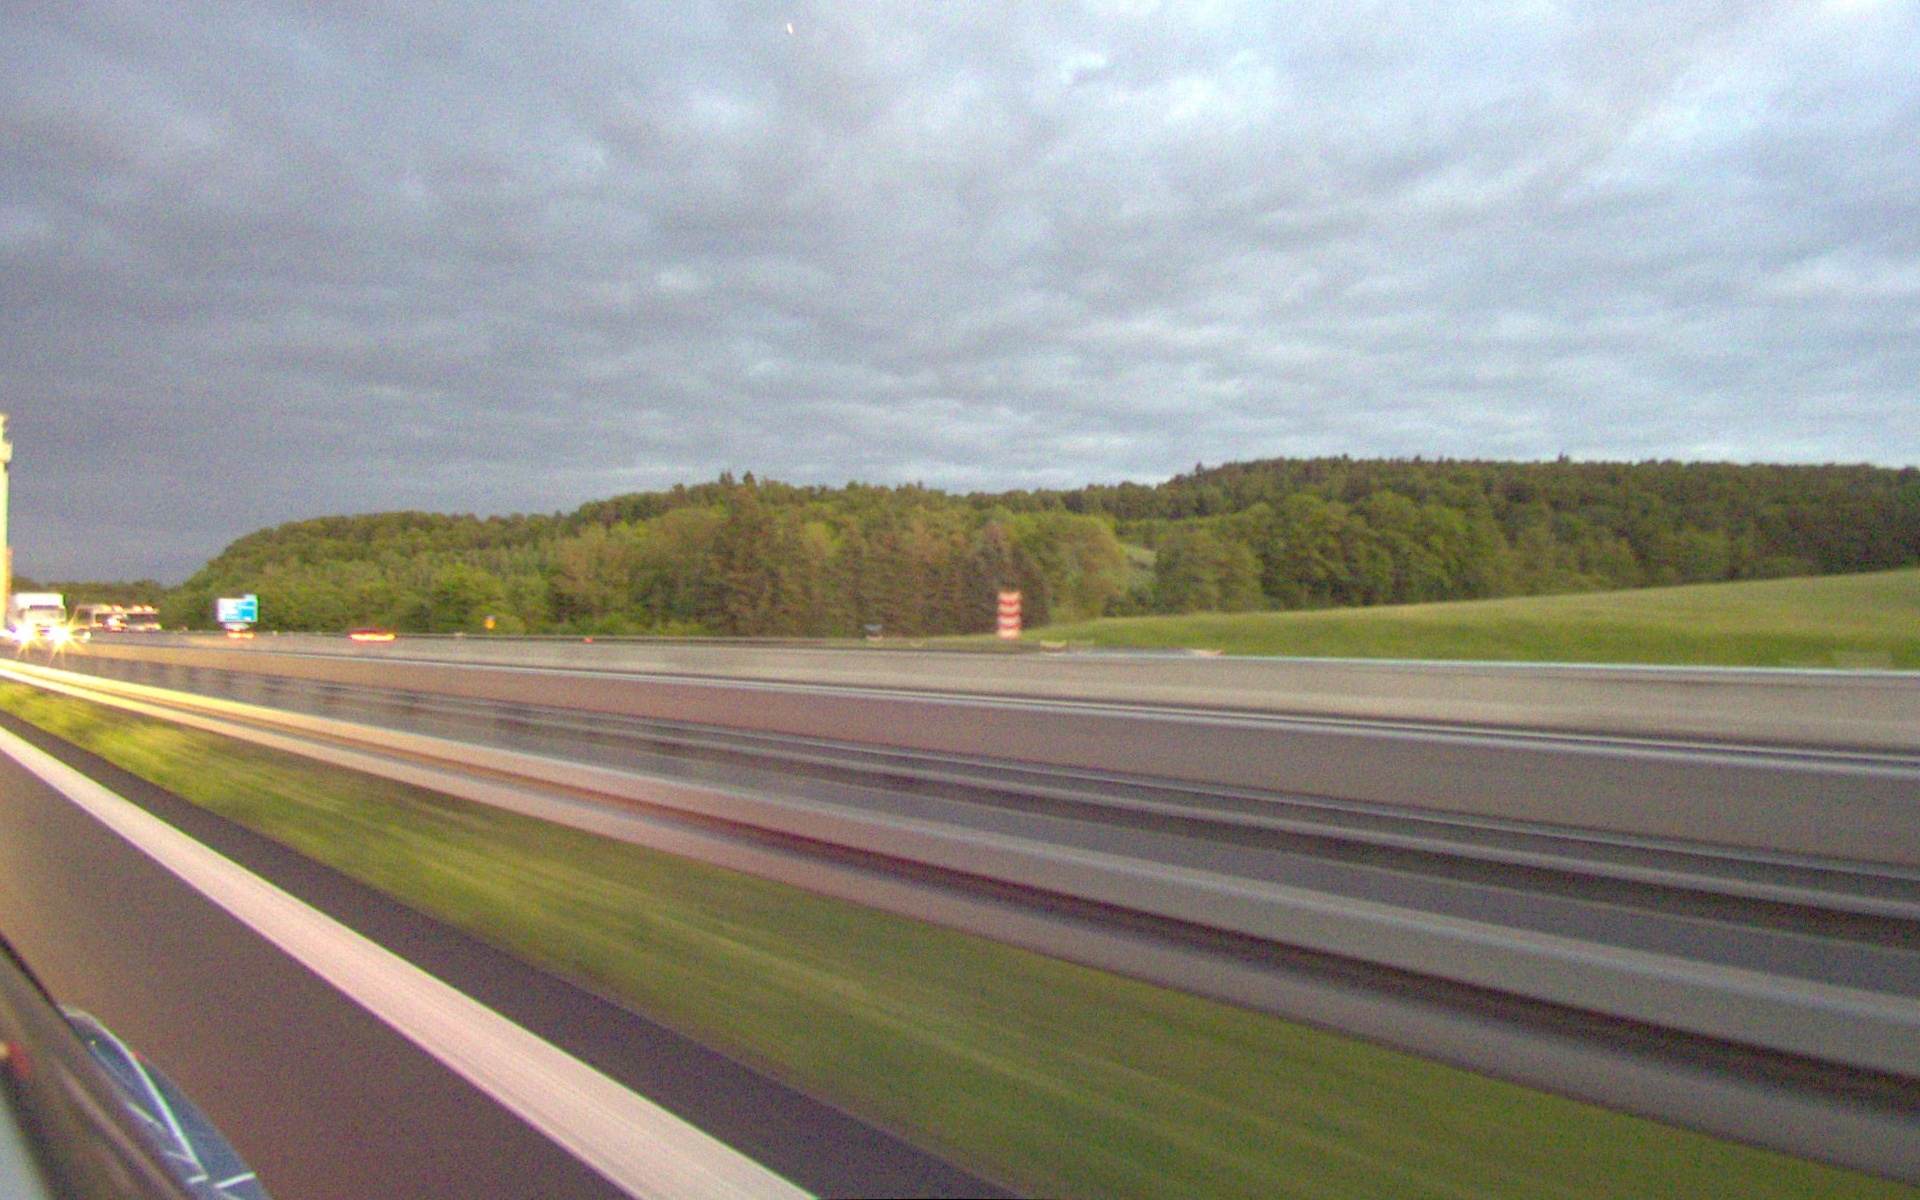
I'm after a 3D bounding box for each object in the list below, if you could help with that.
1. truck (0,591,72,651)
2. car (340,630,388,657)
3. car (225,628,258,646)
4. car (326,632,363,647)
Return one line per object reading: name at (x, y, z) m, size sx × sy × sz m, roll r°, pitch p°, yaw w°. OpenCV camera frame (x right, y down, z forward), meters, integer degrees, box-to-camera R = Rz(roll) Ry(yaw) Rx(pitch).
truck at (-71.196, 1.620, 77.834) m, size 9.886 × 4.334 × 3.006 m, roll -1°, pitch -2°, yaw 41°
car at (-39.479, 2.846, 67.009) m, size 3.750 × 1.719 × 1.665 m, roll -1°, pitch -2°, yaw 41°
car at (-81.294, 4.173, 114.439) m, size 4.731 × 2.029 × 1.972 m, roll -1°, pitch -2°, yaw 41°
car at (-56.796, 3.613, 93.346) m, size 3.889 × 1.329 × 1.750 m, roll -1°, pitch -2°, yaw 40°
